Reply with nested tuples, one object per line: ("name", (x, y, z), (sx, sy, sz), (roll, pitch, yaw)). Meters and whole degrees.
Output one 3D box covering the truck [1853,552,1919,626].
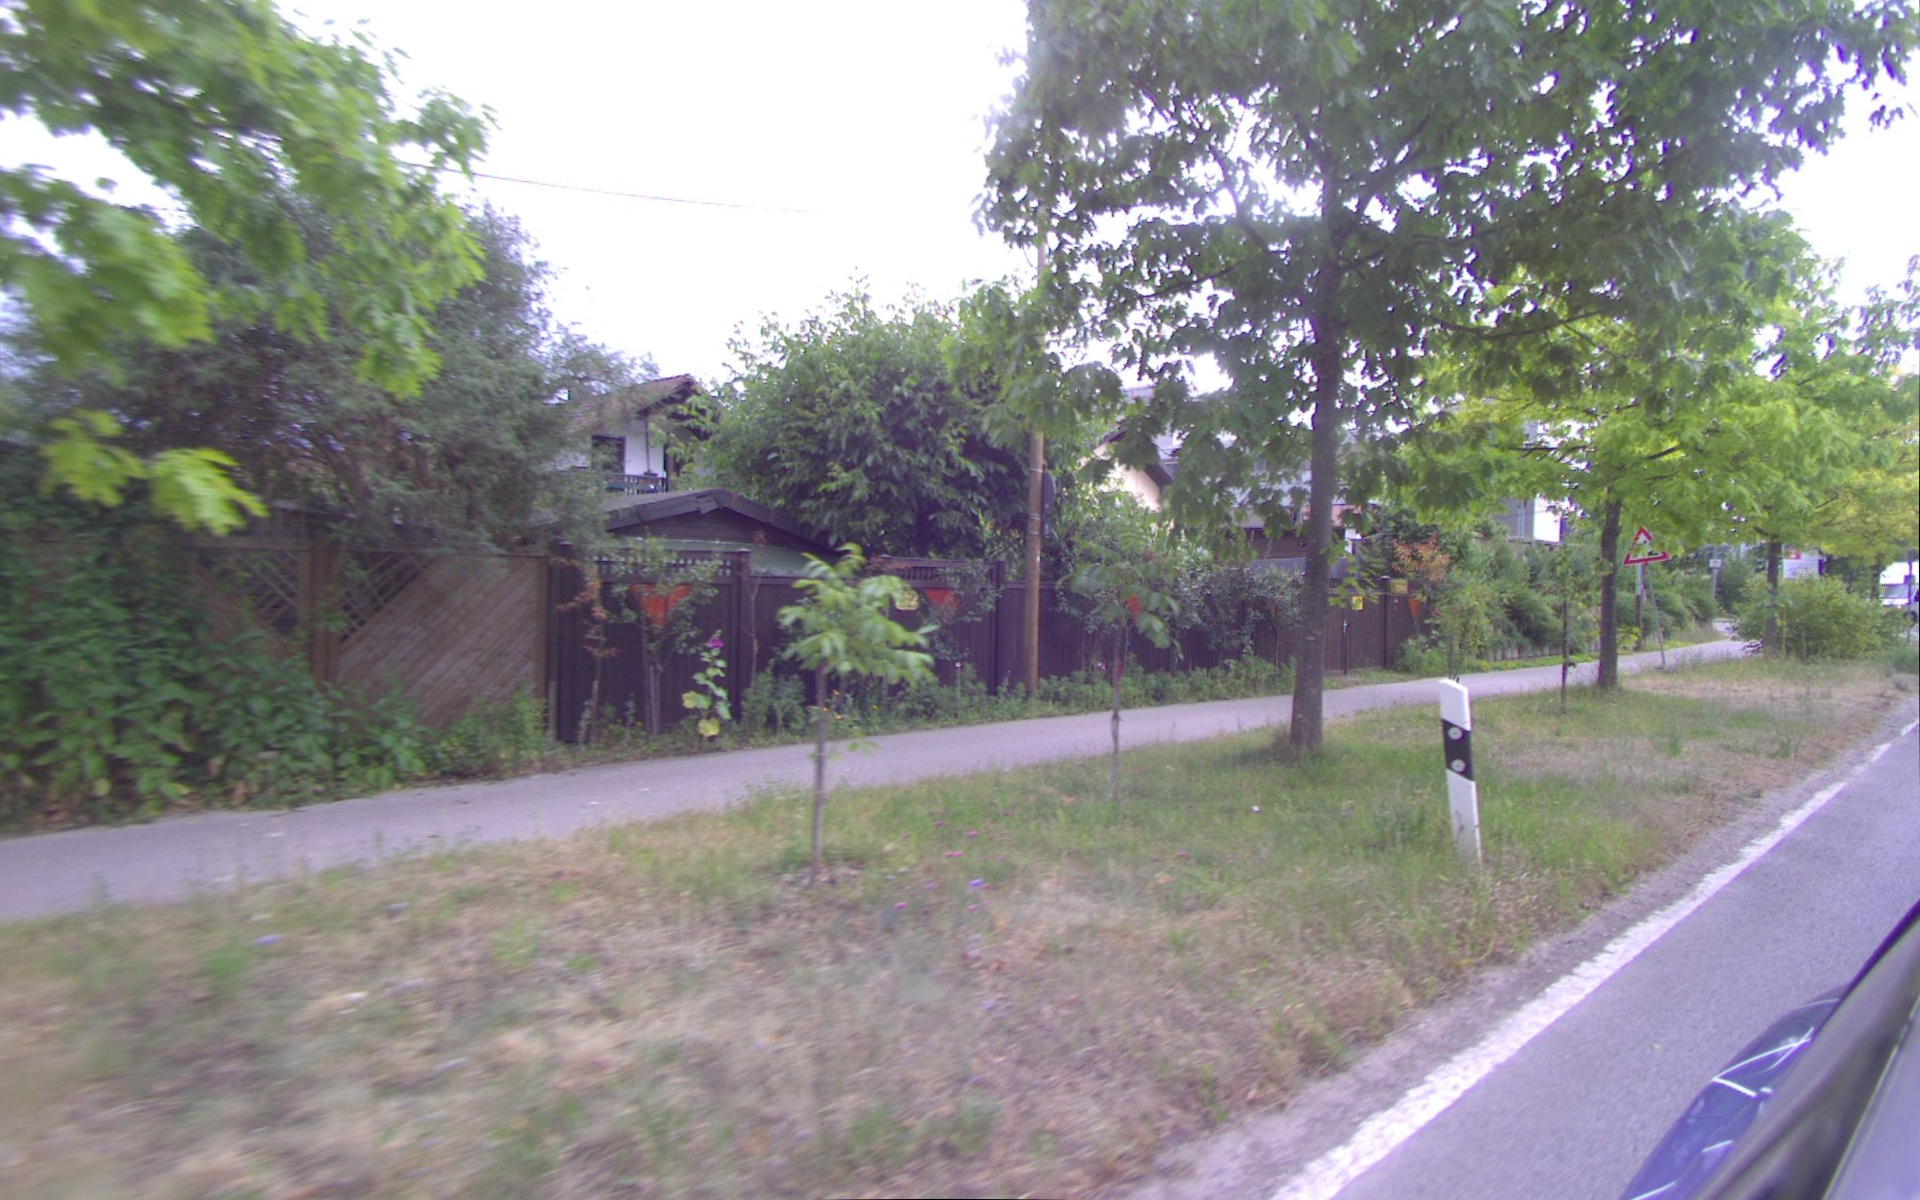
("truck", (48.351, -0.488, 49.851), (7.350, 3.491, 2.621), (1, 0, -12))
